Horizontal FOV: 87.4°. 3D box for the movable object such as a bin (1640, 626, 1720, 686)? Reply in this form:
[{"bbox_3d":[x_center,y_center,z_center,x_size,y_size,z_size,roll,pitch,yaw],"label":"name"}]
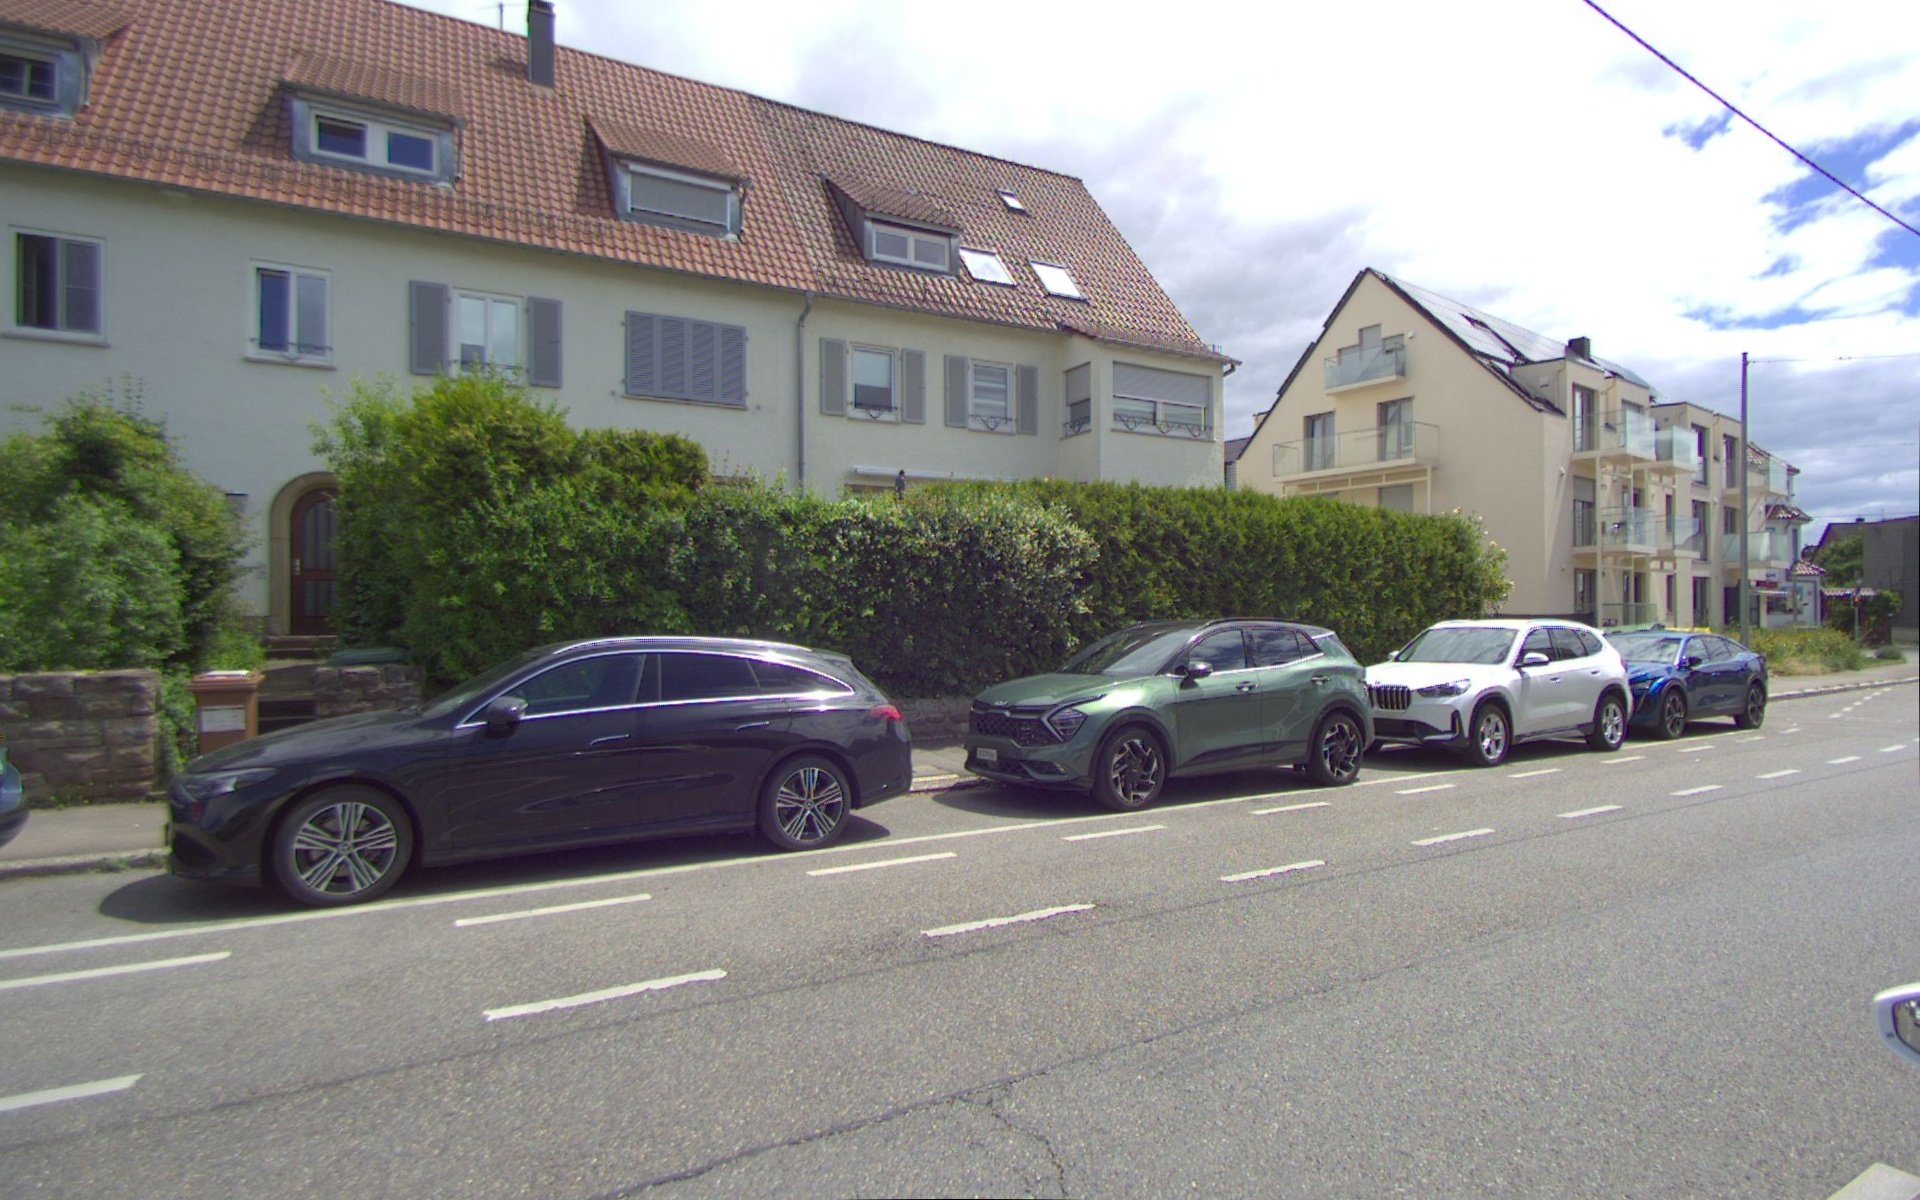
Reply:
[{"bbox_3d":[16.345,1.250,22.811,1.199,1.330,1.060,1,-1,-30],"label":"movable object such as a bin"}]

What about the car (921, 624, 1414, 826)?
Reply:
[{"bbox_3d":[2.113,1.038,9.916,4.633,1.584,1.985,1,-2,-29],"label":"car"}]

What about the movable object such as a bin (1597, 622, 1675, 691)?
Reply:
[{"bbox_3d":[15.120,1.235,22.465,1.201,1.501,1.059,1,-1,-33],"label":"movable object such as a bin"}]

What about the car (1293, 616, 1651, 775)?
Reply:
[{"bbox_3d":[6.504,1.068,12.647,4.466,1.672,1.983,1,-2,-31],"label":"car"}]

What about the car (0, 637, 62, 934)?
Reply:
[{"bbox_3d":[-7.052,0.929,4.308,4.518,1.511,1.767,1,-2,-34],"label":"car"}]

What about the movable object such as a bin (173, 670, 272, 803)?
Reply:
[{"bbox_3d":[-6.215,1.130,8.492,0.629,1.016,0.573,1,0,-34],"label":"movable object such as a bin"}]

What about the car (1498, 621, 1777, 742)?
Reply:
[{"bbox_3d":[10.416,1.136,15.369,4.441,1.608,1.982,1,-2,-33],"label":"car"}]

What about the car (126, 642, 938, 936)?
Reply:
[{"bbox_3d":[-2.649,1.034,7.076,4.633,1.427,1.985,1,-2,-29],"label":"car"}]
